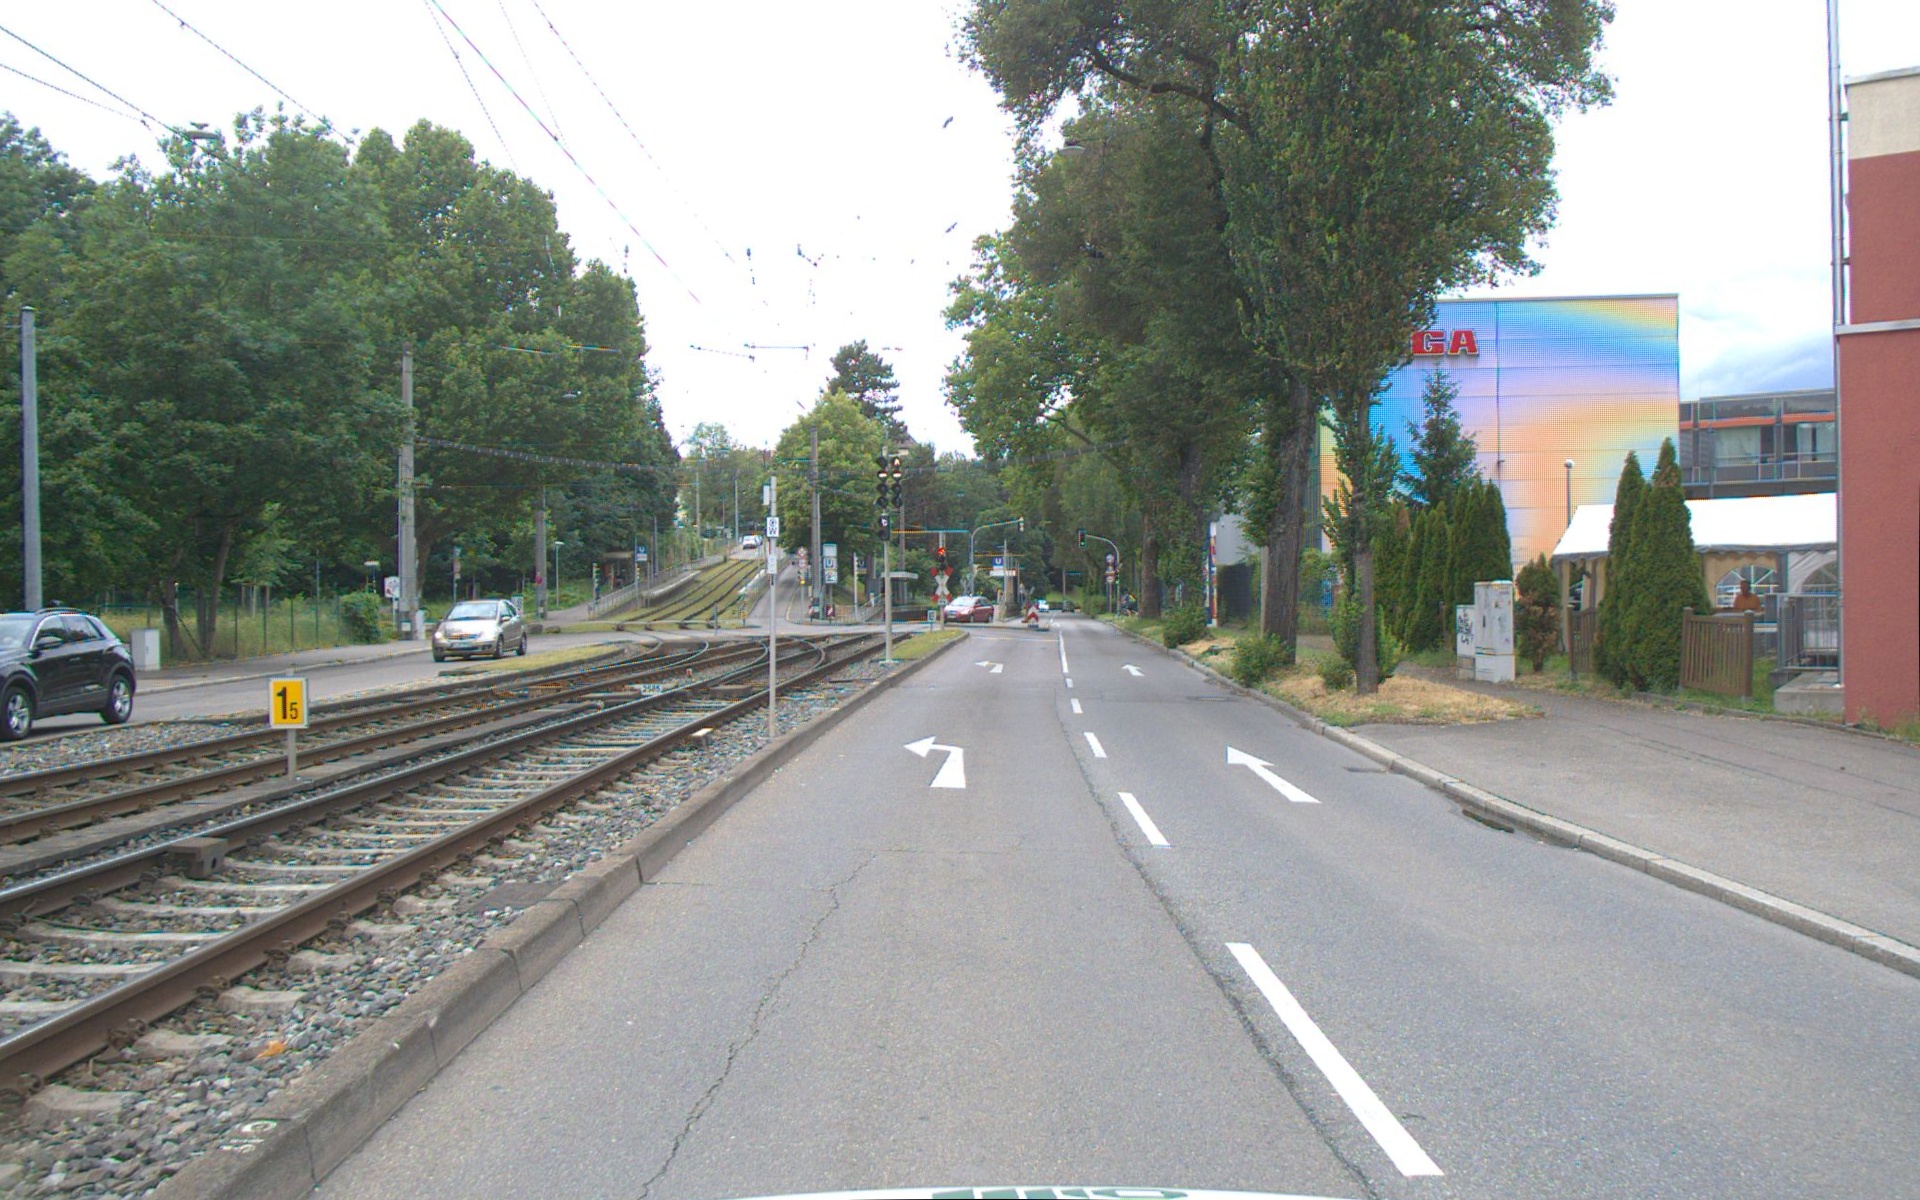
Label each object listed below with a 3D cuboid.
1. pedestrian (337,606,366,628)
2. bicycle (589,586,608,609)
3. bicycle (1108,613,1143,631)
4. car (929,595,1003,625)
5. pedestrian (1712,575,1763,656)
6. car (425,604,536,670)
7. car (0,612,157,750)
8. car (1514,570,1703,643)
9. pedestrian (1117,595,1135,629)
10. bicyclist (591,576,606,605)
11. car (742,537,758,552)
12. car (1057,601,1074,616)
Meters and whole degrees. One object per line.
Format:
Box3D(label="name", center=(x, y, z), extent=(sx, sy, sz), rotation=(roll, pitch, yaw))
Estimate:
Box3D(label="pedestrian", center=(-31.862, 0.875, 86.572), extent=(0.888, 1.115, 1.076), rotation=(0, -2, 38))
Box3D(label="bicycle", center=(-23.756, -0.162, 108.846), extent=(0.808, 1.366, 2.994), rotation=(-1, 3, -5))
Box3D(label="bicycle", center=(10.189, 1.354, 101.808), extent=(2.031, 1.024, 0.668), rotation=(-1, -1, 18))
Box3D(label="car", center=(0.365, 0.533, 89.449), extent=(1.957, 1.542, 4.490), rotation=(0, 0, 31))
Box3D(label="pedestrian", center=(14.689, 0.291, 31.230), extent=(0.692, 1.516, 0.766), rotation=(-1, -1, 39))
Box3D(label="car", center=(-12.864, 0.961, 44.650), extent=(1.853, 1.558, 4.253), rotation=(-4, 0, -3))
Box3D(label="car", center=(-11.890, 0.997, 20.738), extent=(1.654, 1.558, 4.253), rotation=(-4, 0, -3))
Box3D(label="car", center=(16.177, 0.173, 41.306), extent=(4.274, 1.736, 1.999), rotation=(-1, 0, 24))
Box3D(label="pedestrian", center=(10.213, 0.732, 101.797), extent=(0.911, 2.049, 0.668), rotation=(-1, -1, 18))
Box3D(label="bicyclist", center=(-23.752, -0.611, 108.595), extent=(0.805, 1.881, 1.051), rotation=(-1, 2, -5))
Box3D(label="car", center=(-31.369, -8.331, 247.201), extent=(1.953, 2.049, 3.999), rotation=(-1, 0, -1))
Box3D(label="car", center=(14.124, 1.143, 221.908), extent=(1.953, 1.847, 3.999), rotation=(-1, 0, -1))
